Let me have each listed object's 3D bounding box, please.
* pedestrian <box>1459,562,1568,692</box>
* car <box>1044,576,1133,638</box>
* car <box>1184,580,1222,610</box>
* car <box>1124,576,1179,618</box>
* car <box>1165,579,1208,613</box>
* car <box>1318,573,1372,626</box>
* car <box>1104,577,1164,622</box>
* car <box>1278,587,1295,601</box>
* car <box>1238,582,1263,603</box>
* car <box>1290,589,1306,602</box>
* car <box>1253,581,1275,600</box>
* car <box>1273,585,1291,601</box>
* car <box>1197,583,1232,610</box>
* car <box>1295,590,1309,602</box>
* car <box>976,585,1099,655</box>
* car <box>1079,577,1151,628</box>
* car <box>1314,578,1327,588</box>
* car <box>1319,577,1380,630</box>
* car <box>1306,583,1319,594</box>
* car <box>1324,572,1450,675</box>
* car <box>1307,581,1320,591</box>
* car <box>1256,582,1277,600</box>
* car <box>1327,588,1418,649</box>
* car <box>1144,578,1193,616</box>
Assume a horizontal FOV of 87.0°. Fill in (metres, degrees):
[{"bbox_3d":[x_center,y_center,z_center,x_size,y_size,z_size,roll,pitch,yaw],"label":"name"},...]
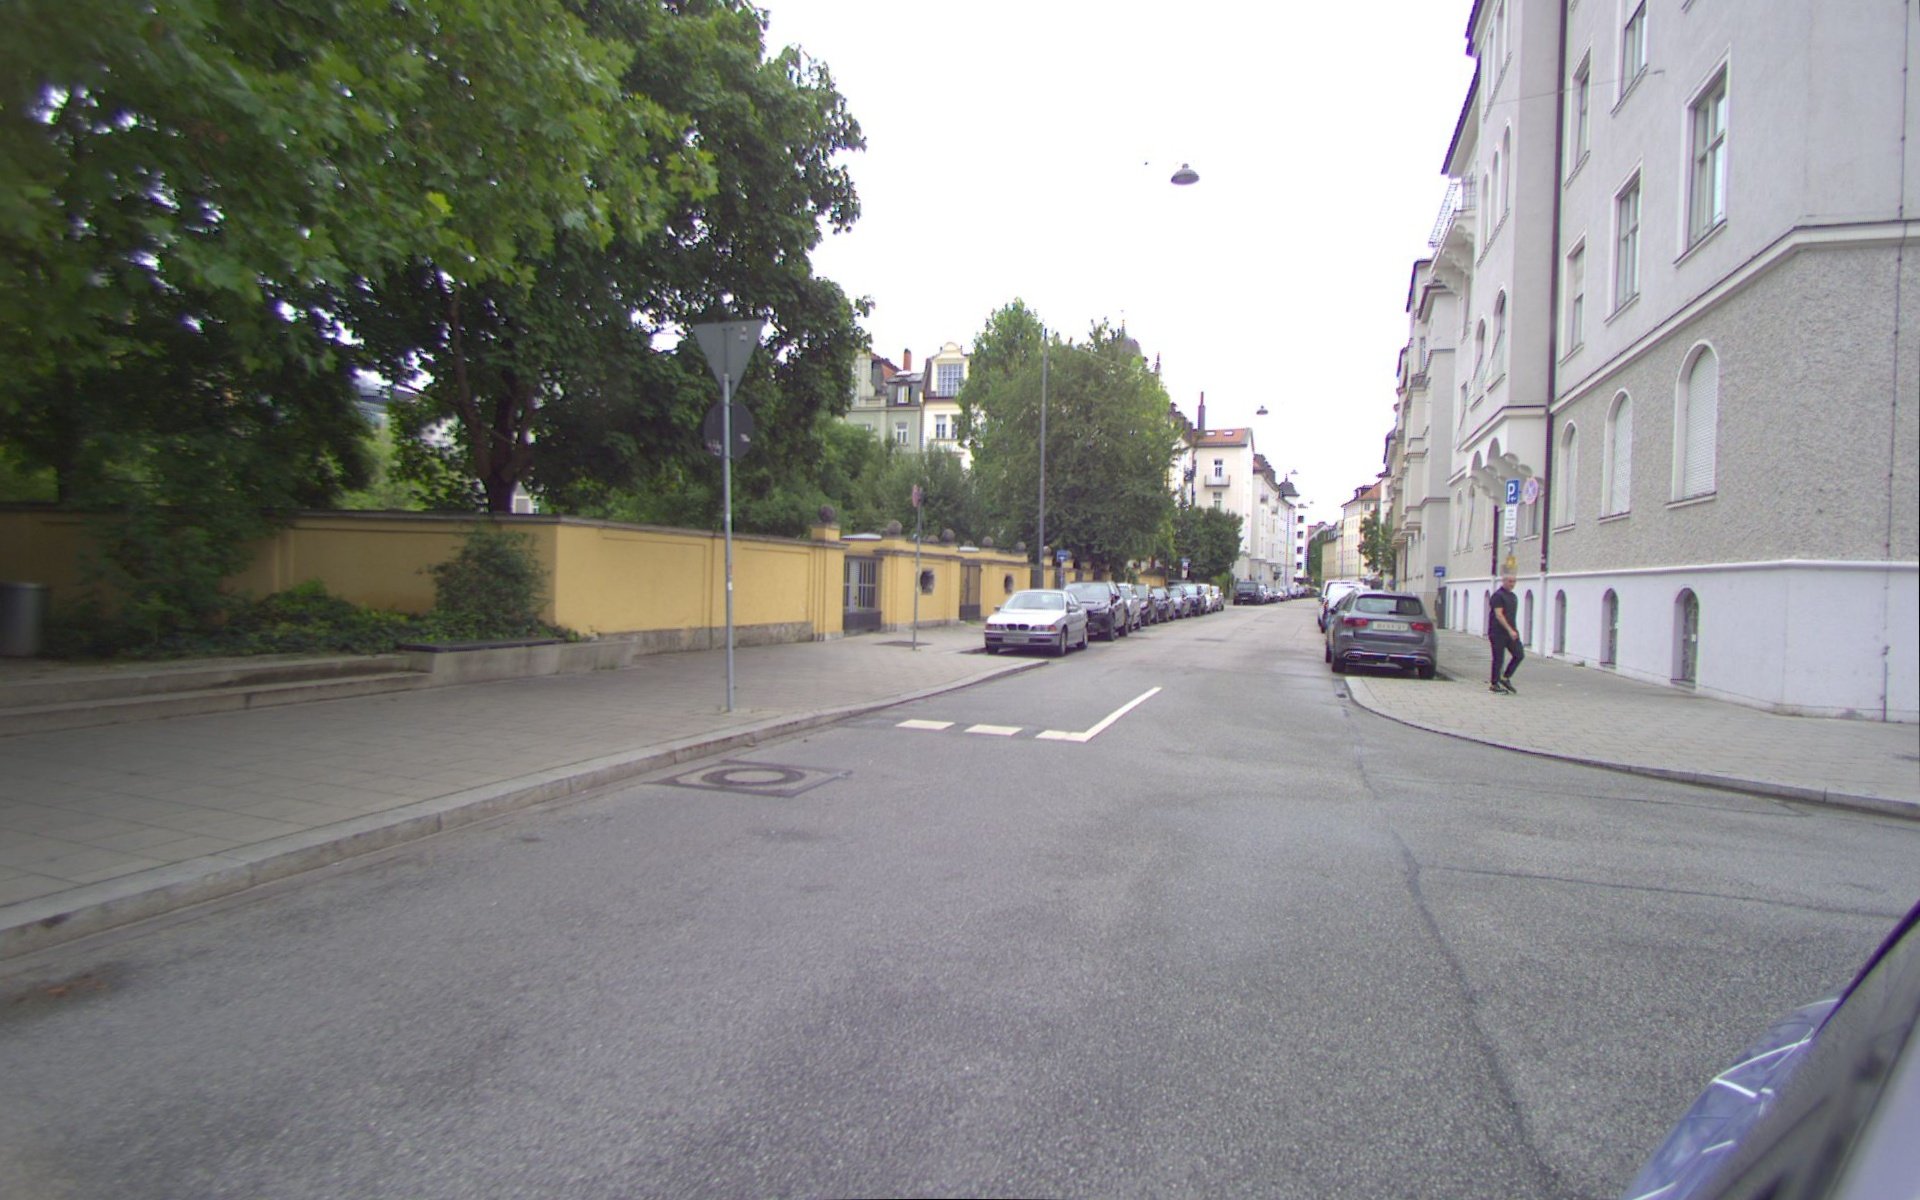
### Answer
[{"bbox_3d":[8.075,0.363,14.787,0.979,1.823,0.932,1,1,-22],"label":"pedestrian"},{"bbox_3d":[3.676,0.137,28.506,1.773,1.566,3.935,2,1,18],"label":"car"},{"bbox_3d":[13.524,-0.326,56.219,1.773,1.566,3.286,2,1,18],"label":"car"},{"bbox_3d":[7.840,-0.147,41.318,1.773,1.566,3.286,2,1,18],"label":"car"},{"bbox_3d":[11.439,-0.229,50.968,1.773,1.566,3.286,2,1,18],"label":"car"},{"bbox_3d":[16.257,-0.067,42.895,1.794,2.060,4.013,2,2,17],"label":"car"},{"bbox_3d":[6.570,-0.047,38.022,1.773,1.566,3.286,2,1,18],"label":"car"},{"bbox_3d":[37.126,-0.708,115.042,1.773,1.566,3.590,2,1,18],"label":"car"},{"bbox_3d":[23.352,-0.635,81.321,1.773,1.566,3.590,2,1,18],"label":"car"},{"bbox_3d":[42.875,-0.615,128.487,1.773,1.566,3.590,2,1,18],"label":"car"},{"bbox_3d":[27.326,-0.858,90.831,1.773,1.566,3.590,2,1,18],"label":"car"},{"bbox_3d":[33.736,-0.753,105.974,1.773,1.566,3.590,2,1,18],"label":"car"},{"bbox_3d":[15.364,-0.242,60.964,1.773,1.566,3.286,2,1,18],"label":"car"},{"bbox_3d":[47.162,-0.571,139.645,1.773,1.566,3.590,2,1,18],"label":"car"},{"bbox_3d":[1.880,0.375,23.160,1.778,1.385,4.439,2,1,18],"label":"car"},{"bbox_3d":[5.265,0.053,34.086,1.773,1.566,3.935,2,1,18],"label":"car"},{"bbox_3d":[59.858,-2.787,168.155,1.773,1.566,3.590,2,1,18],"label":"car"},{"bbox_3d":[14.178,0.073,36.997,1.773,1.805,3.819,2,2,17],"label":"car"},{"bbox_3d":[53.189,-1.788,152.767,1.773,1.566,3.590,2,1,18],"label":"car"},{"bbox_3d":[8.509,0.368,20.508,1.867,1.817,4.228,2,2,17],"label":"car"},{"bbox_3d":[54.888,-2.176,157.273,1.773,1.566,3.590,2,1,18],"label":"car"},{"bbox_3d":[28.753,-0.837,94.838,1.773,1.566,3.590,2,1,18],"label":"car"},{"bbox_3d":[11.173,0.438,27.684,1.867,1.422,4.228,2,2,17],"label":"car"},{"bbox_3d":[9.309,-0.169,45.123,1.773,1.566,3.286,2,1,18],"label":"car"}]
